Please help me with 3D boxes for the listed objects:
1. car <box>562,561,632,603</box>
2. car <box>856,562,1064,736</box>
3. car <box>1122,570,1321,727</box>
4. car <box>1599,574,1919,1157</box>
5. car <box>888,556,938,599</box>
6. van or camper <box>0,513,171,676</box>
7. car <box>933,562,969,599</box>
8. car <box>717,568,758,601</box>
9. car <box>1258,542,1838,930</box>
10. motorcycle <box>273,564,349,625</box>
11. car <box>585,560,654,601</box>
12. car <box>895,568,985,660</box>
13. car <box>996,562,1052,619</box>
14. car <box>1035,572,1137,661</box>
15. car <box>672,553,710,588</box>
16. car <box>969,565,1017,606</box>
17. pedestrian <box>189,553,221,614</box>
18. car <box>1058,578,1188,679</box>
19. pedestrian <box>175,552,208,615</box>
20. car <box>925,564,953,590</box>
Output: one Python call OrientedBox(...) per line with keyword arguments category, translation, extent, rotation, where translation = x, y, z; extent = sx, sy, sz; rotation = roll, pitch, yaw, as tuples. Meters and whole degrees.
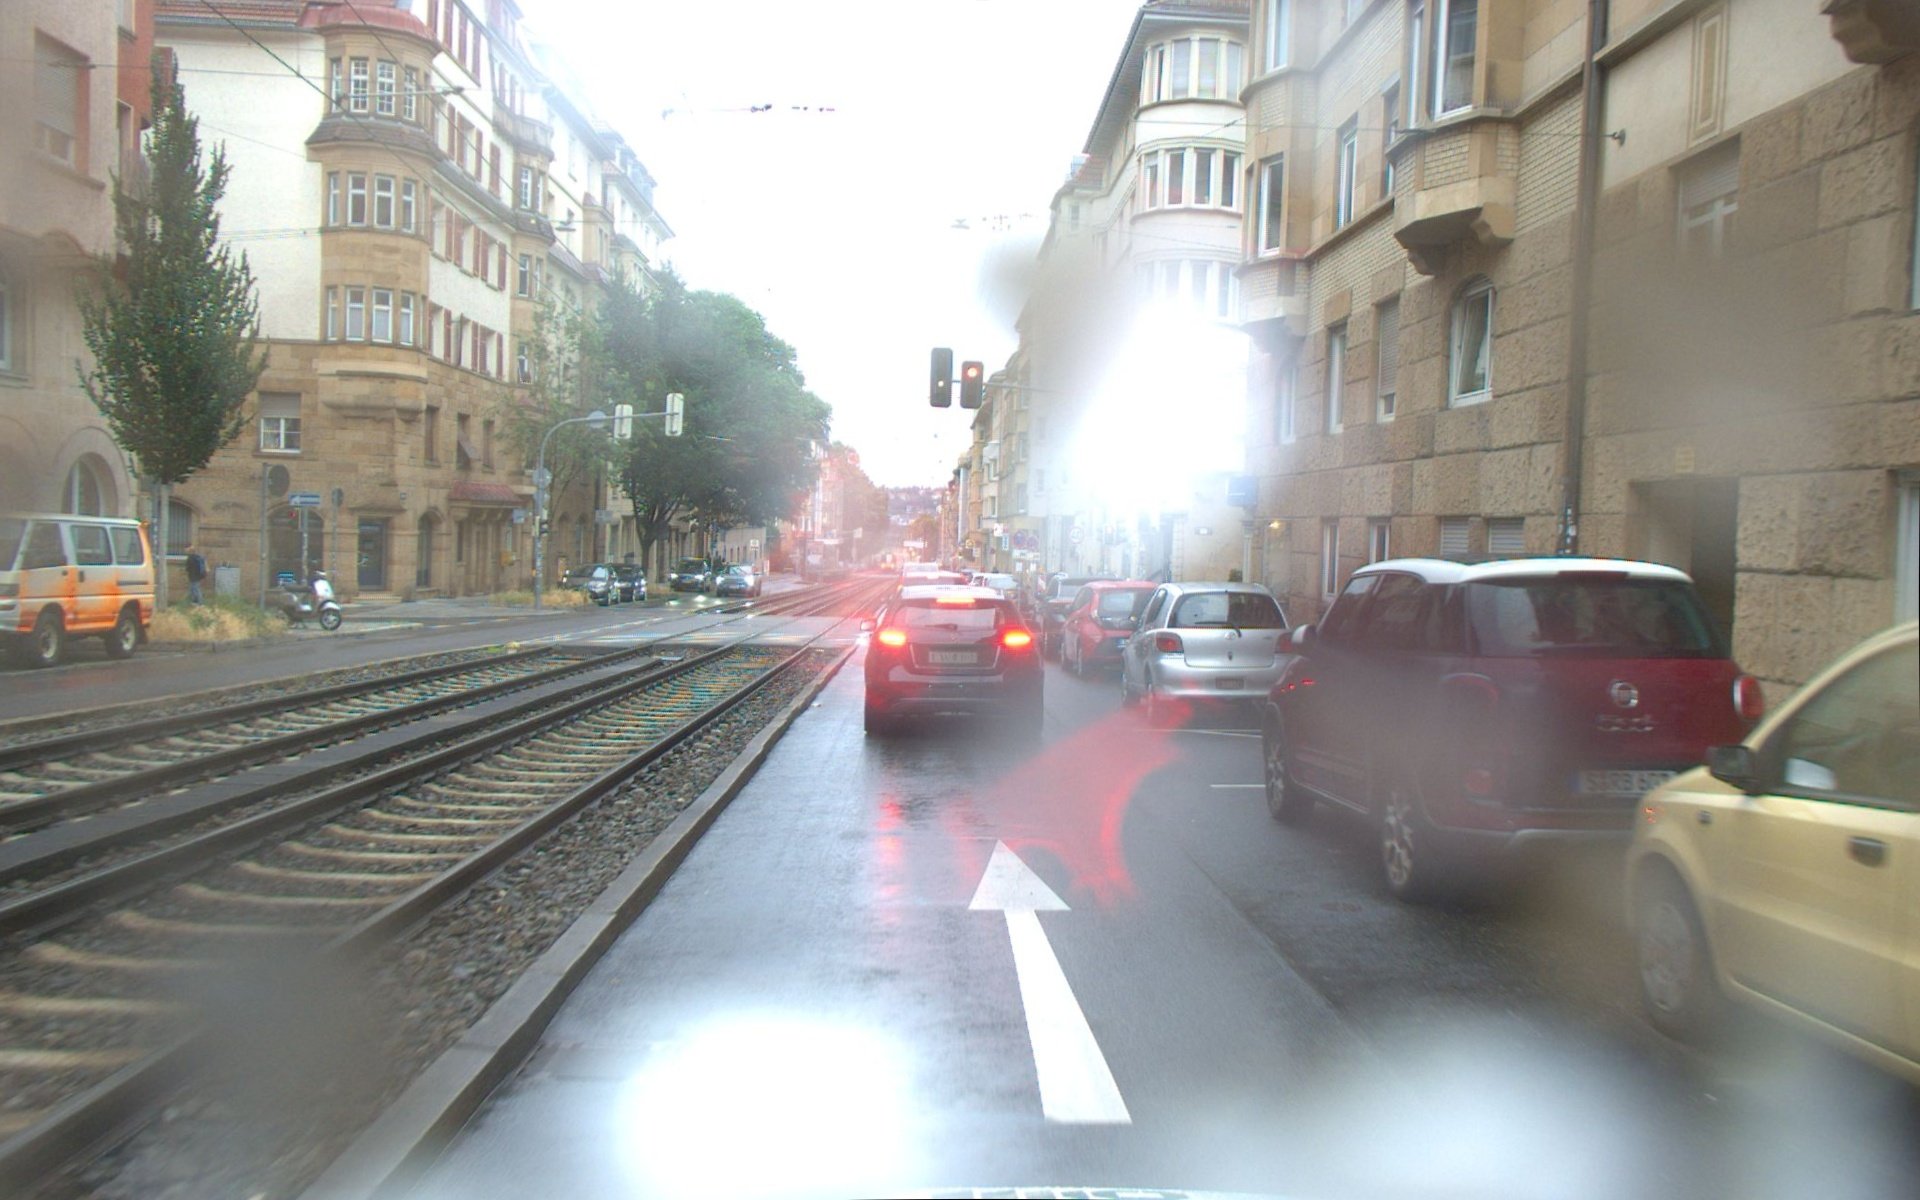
OrientedBox(category="car", translation=(-13.327, -0.657, 60.912), extent=(1.735, 1.489, 3.999), rotation=(1, 0, -1))
OrientedBox(category="car", translation=(-0.075, 0.451, 17.137), extent=(1.907, 1.592, 3.641), rotation=(1, 0, -3))
OrientedBox(category="car", translation=(2.852, 0.468, 18.682), extent=(1.604, 1.569, 3.465), rotation=(2, 1, -1))
OrientedBox(category="car", translation=(3.258, 0.711, 4.591), extent=(1.527, 1.504, 3.460), rotation=(2, 1, -1))
OrientedBox(category="car", translation=(-1.915, -0.932, 68.616), extent=(1.882, 1.684, 4.000), rotation=(2, 1, 0))
OrientedBox(category="van or camper", translation=(-12.484, -0.128, 21.901), extent=(1.954, 1.934, 4.696), rotation=(2, 0, -3))
OrientedBox(category="car", translation=(-0.475, -0.999, 86.244), extent=(1.815, 1.829, 3.811), rotation=(1, 0, -1))
OrientedBox(category="car", translation=(-10.845, -0.772, 80.765), extent=(1.760, 1.575, 3.996), rotation=(0, 1, -5))
OrientedBox(category="car", translation=(2.951, 0.573, 9.276), extent=(1.676, 1.656, 3.999), rotation=(2, 1, -2))
OrientedBox(category="motorcycle", translation=(-12.821, -0.111, 32.664), extent=(1.409, 1.154, 0.619), rotation=(2, 0, 28))
OrientedBox(category="car", translation=(-13.600, -0.782, 66.228), extent=(1.953, 1.544, 3.999), rotation=(2, 1, -1))
OrientedBox(category="car", translation=(-0.377, 0.204, 30.563), extent=(1.504, 1.536, 4.000), rotation=(2, 1, -1))
OrientedBox(category="car", translation=(2.404, -0.341, 62.584), extent=(1.860, 2.063, 4.175), rotation=(1, 0, -1))
OrientedBox(category="car", translation=(2.325, 0.264, 31.395), extent=(1.518, 1.534, 3.999), rotation=(2, 1, -1))
OrientedBox(category="car", translation=(-14.150, -1.540, 87.039), extent=(1.756, 1.721, 3.994), rotation=(1, 1, -7))
OrientedBox(category="car", translation=(1.453, -0.635, 74.837), extent=(1.734, 1.807, 3.996), rotation=(1, 0, -5))
OrientedBox(category="pedestrian", translation=(-22.027, -0.476, 48.280), extent=(0.595, 1.763, 0.642), rotation=(2, 0, -1))
OrientedBox(category="car", translation=(2.499, 0.397, 26.041), extent=(1.570, 1.443, 3.147), rotation=(2, 1, -3))
OrientedBox(category="pedestrian", translation=(-21.976, -0.470, 47.328), extent=(0.595, 1.763, 0.642), rotation=(2, 0, -1))
OrientedBox(category="car", translation=(-1.473, -1.587, 115.534), extent=(1.870, 1.735, 4.000), rotation=(2, 1, -1))
